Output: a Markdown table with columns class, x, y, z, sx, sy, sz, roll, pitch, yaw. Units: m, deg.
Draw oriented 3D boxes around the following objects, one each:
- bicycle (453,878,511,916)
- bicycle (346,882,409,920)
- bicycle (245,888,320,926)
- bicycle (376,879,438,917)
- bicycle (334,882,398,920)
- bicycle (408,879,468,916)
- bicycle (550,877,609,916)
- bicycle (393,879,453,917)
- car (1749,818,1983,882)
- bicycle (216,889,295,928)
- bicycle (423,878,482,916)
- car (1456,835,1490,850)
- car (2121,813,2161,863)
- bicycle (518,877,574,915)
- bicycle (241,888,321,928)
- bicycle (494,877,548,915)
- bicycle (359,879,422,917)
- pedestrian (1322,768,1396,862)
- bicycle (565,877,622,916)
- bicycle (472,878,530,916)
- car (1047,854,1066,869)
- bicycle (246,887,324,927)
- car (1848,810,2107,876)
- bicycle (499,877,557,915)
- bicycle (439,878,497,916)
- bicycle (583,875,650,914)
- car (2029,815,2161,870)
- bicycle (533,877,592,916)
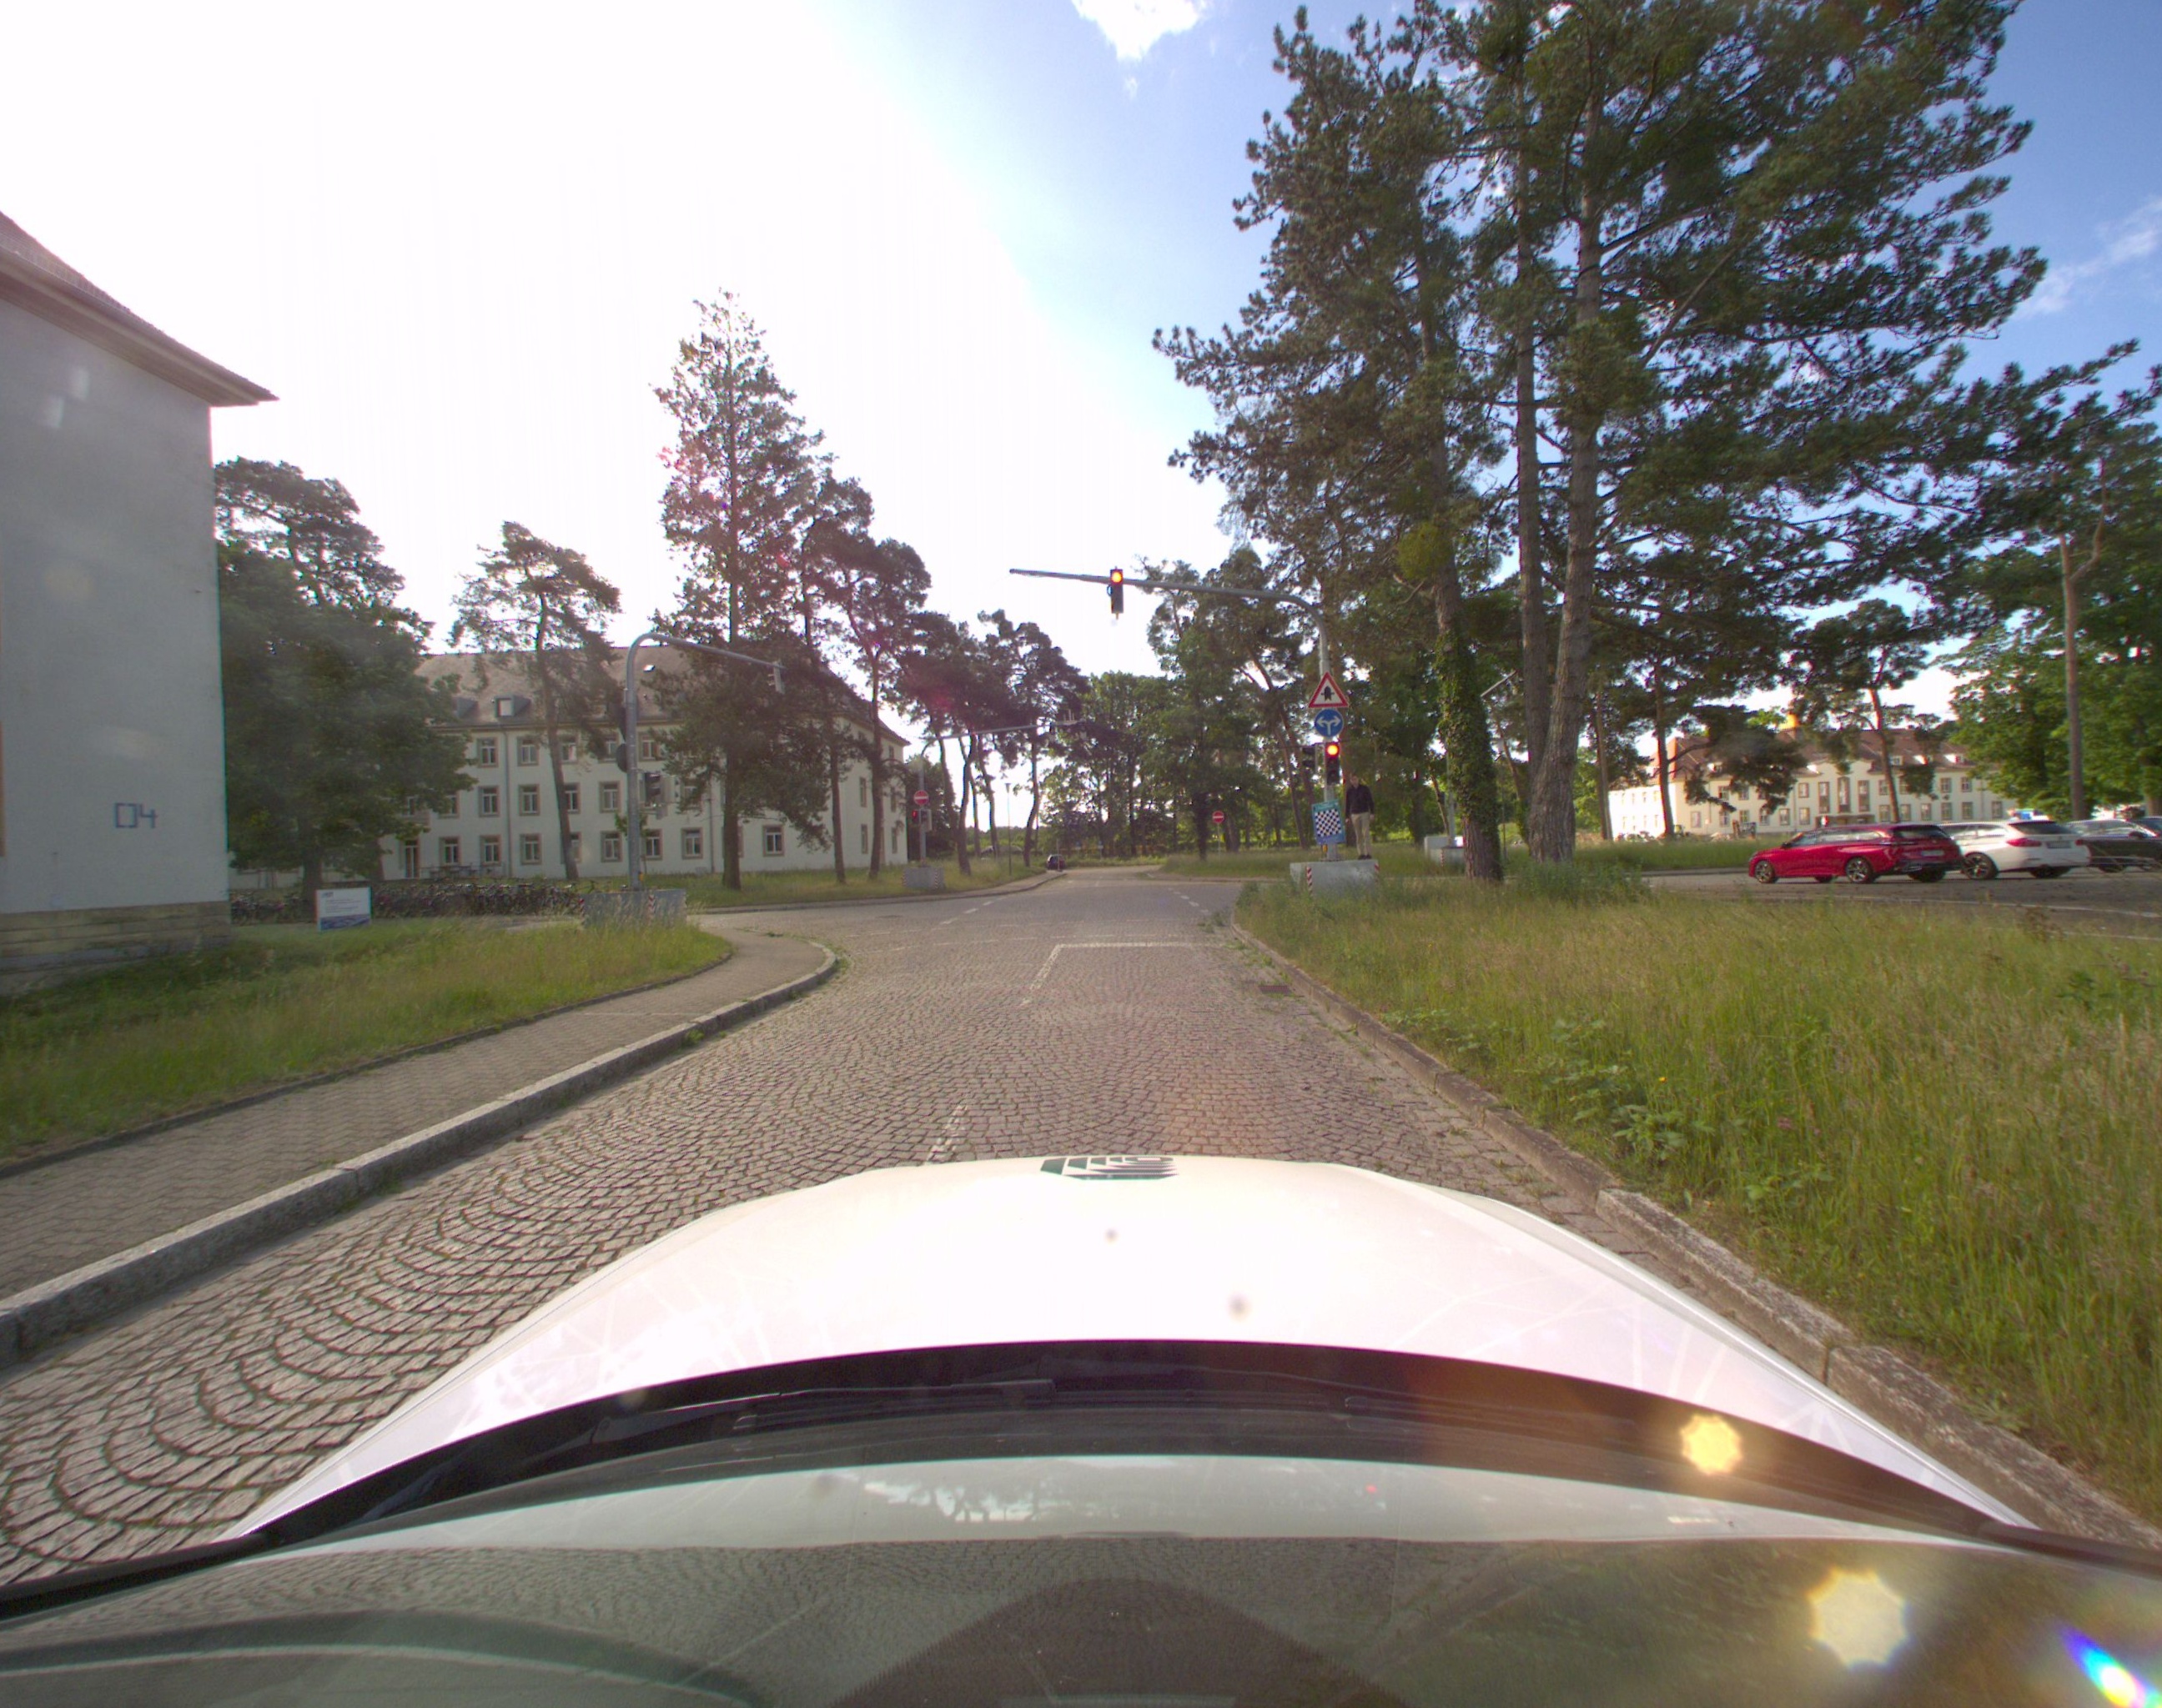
| class | x | y | z | sx | sy | sz | roll | pitch | yaw |
| --- | --- | --- | --- | --- | --- | --- | --- | --- | --- |
| bicycle | -21.409 | 1.517 | 29.166 | 0.512 | 1.220 | 1.978 | -2 | 0 | 2 |
| bicycle | -25.215 | 1.663 | 29.240 | 0.512 | 1.220 | 1.938 | -2 | 0 | 2 |
| bicycle | -28.541 | 1.868 | 29.146 | 0.509 | 1.220 | 1.841 | -2 | 0 | 39 |
| bicycle | -24.145 | 1.554 | 29.229 | 0.512 | 1.220 | 1.938 | -2 | 0 | 2 |
| bicycle | -25.645 | 1.670 | 29.248 | 0.512 | 1.220 | 1.938 | -2 | 0 | 2 |
| bicycle | -23.008 | 1.536 | 29.167 | 0.512 | 1.220 | 1.938 | -2 | 0 | 2 |
| bicycle | -17.491 | 1.455 | 28.469 | 0.630 | 1.220 | 2.125 | -2 | 0 | 2 |
| bicycle | -23.553 | 1.545 | 29.199 | 0.512 | 1.220 | 1.938 | -2 | 0 | 2 |
| car | 19.246 | -0.066 | 20.291 | 1.740 | 1.399 | 4.329 | -1 | -1 | 2 |
| bicycle | -28.578 | 1.871 | 28.212 | 0.509 | 1.220 | 1.841 | -2 | 0 | 39 |
| bicycle | -22.453 | 1.527 | 29.146 | 0.512 | 1.220 | 1.955 | -2 | 0 | 2 |
| car | 42.936 | -1.262 | 89.384 | 1.820 | 1.582 | 4.165 | -2 | 0 | 2 |
| car | 30.098 | -0.447 | 21.040 | 1.716 | 1.372 | 3.796 | -1 | 0 | 4 |
| bicycle | -18.937 | 1.477 | 28.889 | 0.570 | 1.220 | 1.990 | -2 | 0 | 2 |
| bicycle | -27.087 | 1.815 | 27.620 | 1.836 | 1.220 | 0.510 | -2 | 0 | -34 |
| bicycle | -20.239 | 1.496 | 29.466 | 0.546 | 1.220 | 1.900 | -2 | 0 | 2 |
| bicycle | -24.755 | 1.564 | 29.228 | 0.512 | 1.220 | 1.938 | -2 | 0 | 2 |
| pedestrian | 5.724 | -0.781 | 16.758 | 1.157 | 1.796 | 1.069 | -3 | 0 | 31 |
| bicycle | -17.008 | 1.446 | 28.469 | 0.630 | 1.220 | 2.115 | -2 | 0 | 2 |
| bicycle | -20.760 | 1.506 | 29.200 | 0.512 | 1.220 | 2.016 | -2 | 0 | 2 |
| car | -2.525 | 0.775 | 84.737 | 1.704 | 1.496 | 3.918 | -2 | 0 | 0 |
| bicycle | -27.468 | 1.813 | 28.135 | 1.836 | 1.220 | 0.510 | -2 | 0 | -34 |
| car | 22.084 | -0.194 | 20.367 | 1.773 | 1.379 | 4.240 | -2 | -2 | 0 |
| bicycle | -19.680 | 1.491 | 29.033 | 0.576 | 1.220 | 2.030 | -2 | 0 | 2 |
| bicycle | -21.927 | 1.521 | 29.169 | 0.512 | 1.220 | 1.978 | -2 | 0 | 2 |
| bicycle | -15.777 | 1.385 | 27.686 | 1.855 | 1.220 | 0.635 | -2 | 0 | 1 |
| car | 27.230 | -0.319 | 20.719 | 1.610 | 1.315 | 4.048 | -3 | 0 | 3 |
| bicycle | -18.095 | 1.465 | 28.488 | 0.630 | 1.220 | 2.105 | -2 | 0 | 2 |
